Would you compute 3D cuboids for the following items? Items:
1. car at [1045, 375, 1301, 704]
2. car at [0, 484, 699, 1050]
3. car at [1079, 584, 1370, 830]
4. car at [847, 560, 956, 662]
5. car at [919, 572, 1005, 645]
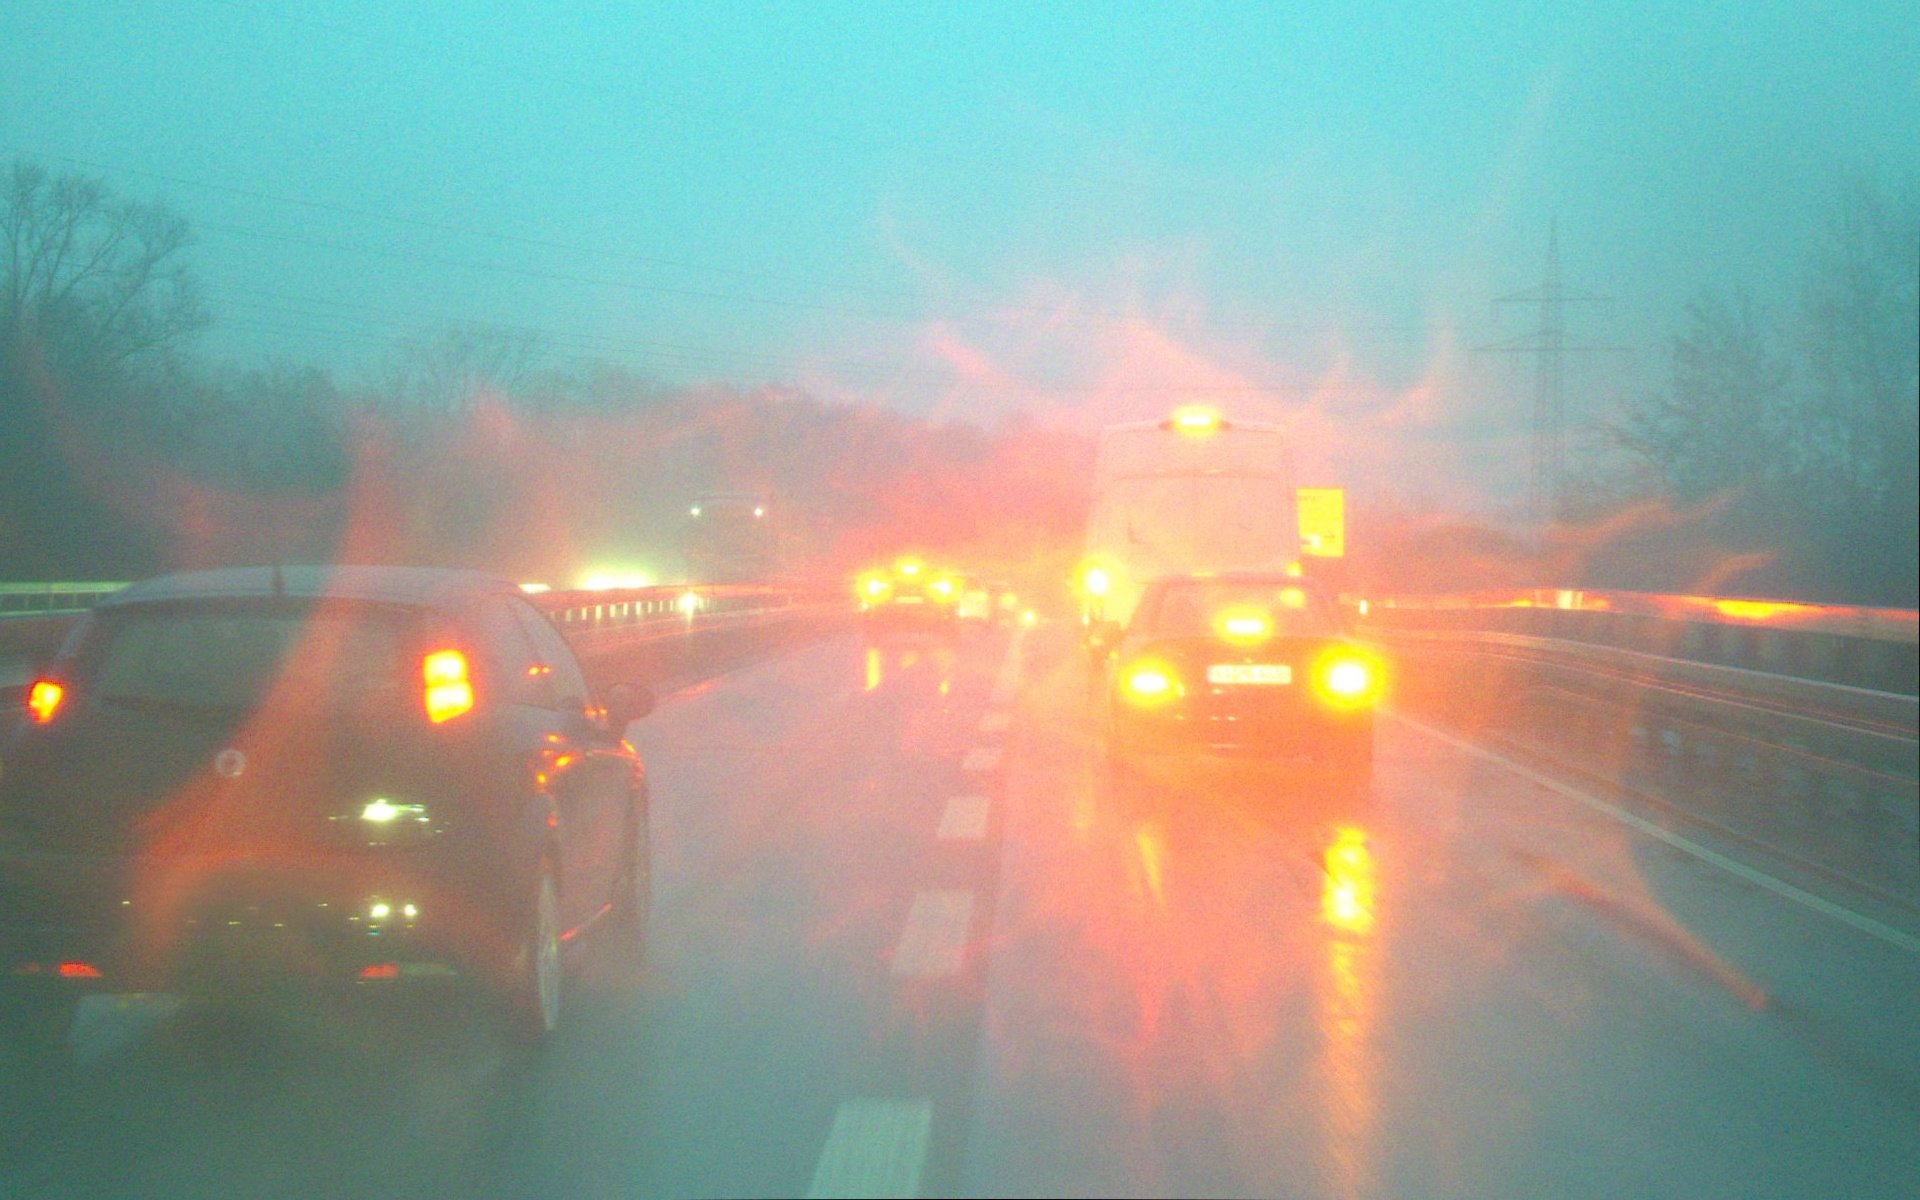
[{"bbox_3d":[2.000,-0.544,34.256,2.282,2.956,6.390,-1,0,1],"label":"car"},{"bbox_3d":[-1.960,0.472,11.353,1.730,1.527,4.042,0,-1,2],"label":"car"},{"bbox_3d":[1.735,0.651,23.450,1.736,1.410,4.377,2,1,3],"label":"car"},{"bbox_3d":[-1.124,0.193,67.241,1.993,1.808,4.000,3,1,0],"label":"car"},{"bbox_3d":[0.017,0.185,84.488,1.993,1.708,4.000,1,0,-1],"label":"car"}]
